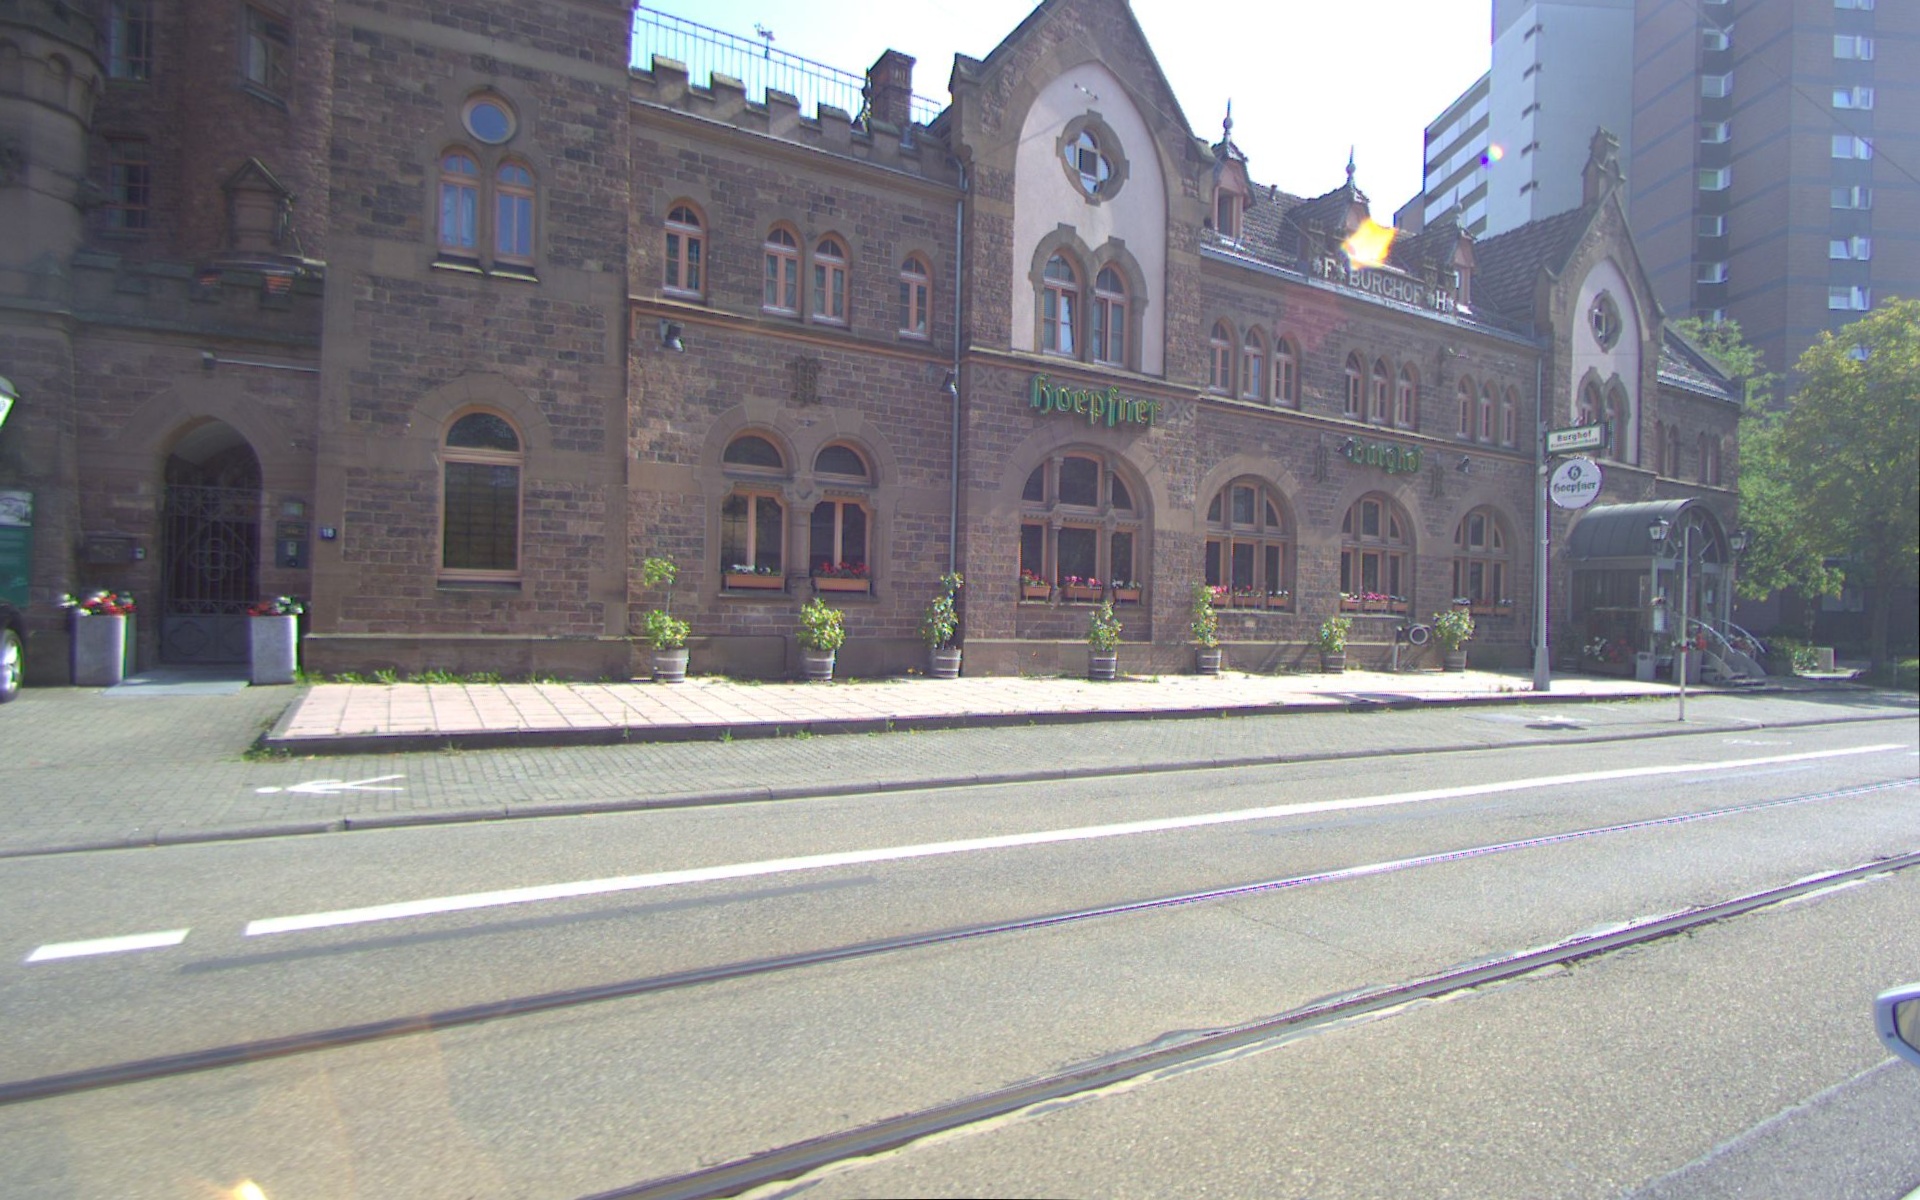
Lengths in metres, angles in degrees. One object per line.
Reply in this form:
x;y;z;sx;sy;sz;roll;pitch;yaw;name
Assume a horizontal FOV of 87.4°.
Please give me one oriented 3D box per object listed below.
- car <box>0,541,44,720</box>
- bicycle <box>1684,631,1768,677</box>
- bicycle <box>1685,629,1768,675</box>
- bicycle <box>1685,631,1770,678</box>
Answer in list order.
-9.481;0.343;8.215;1.933;1.668;4.377;2;3;-29;car
21.540;1.501;28.260;1.780;1.088;0.419;7;3;38;bicycle
21.828;1.472;28.625;1.780;1.088;0.419;7;3;38;bicycle
21.271;1.488;27.876;1.780;1.088;0.419;7;3;38;bicycle
